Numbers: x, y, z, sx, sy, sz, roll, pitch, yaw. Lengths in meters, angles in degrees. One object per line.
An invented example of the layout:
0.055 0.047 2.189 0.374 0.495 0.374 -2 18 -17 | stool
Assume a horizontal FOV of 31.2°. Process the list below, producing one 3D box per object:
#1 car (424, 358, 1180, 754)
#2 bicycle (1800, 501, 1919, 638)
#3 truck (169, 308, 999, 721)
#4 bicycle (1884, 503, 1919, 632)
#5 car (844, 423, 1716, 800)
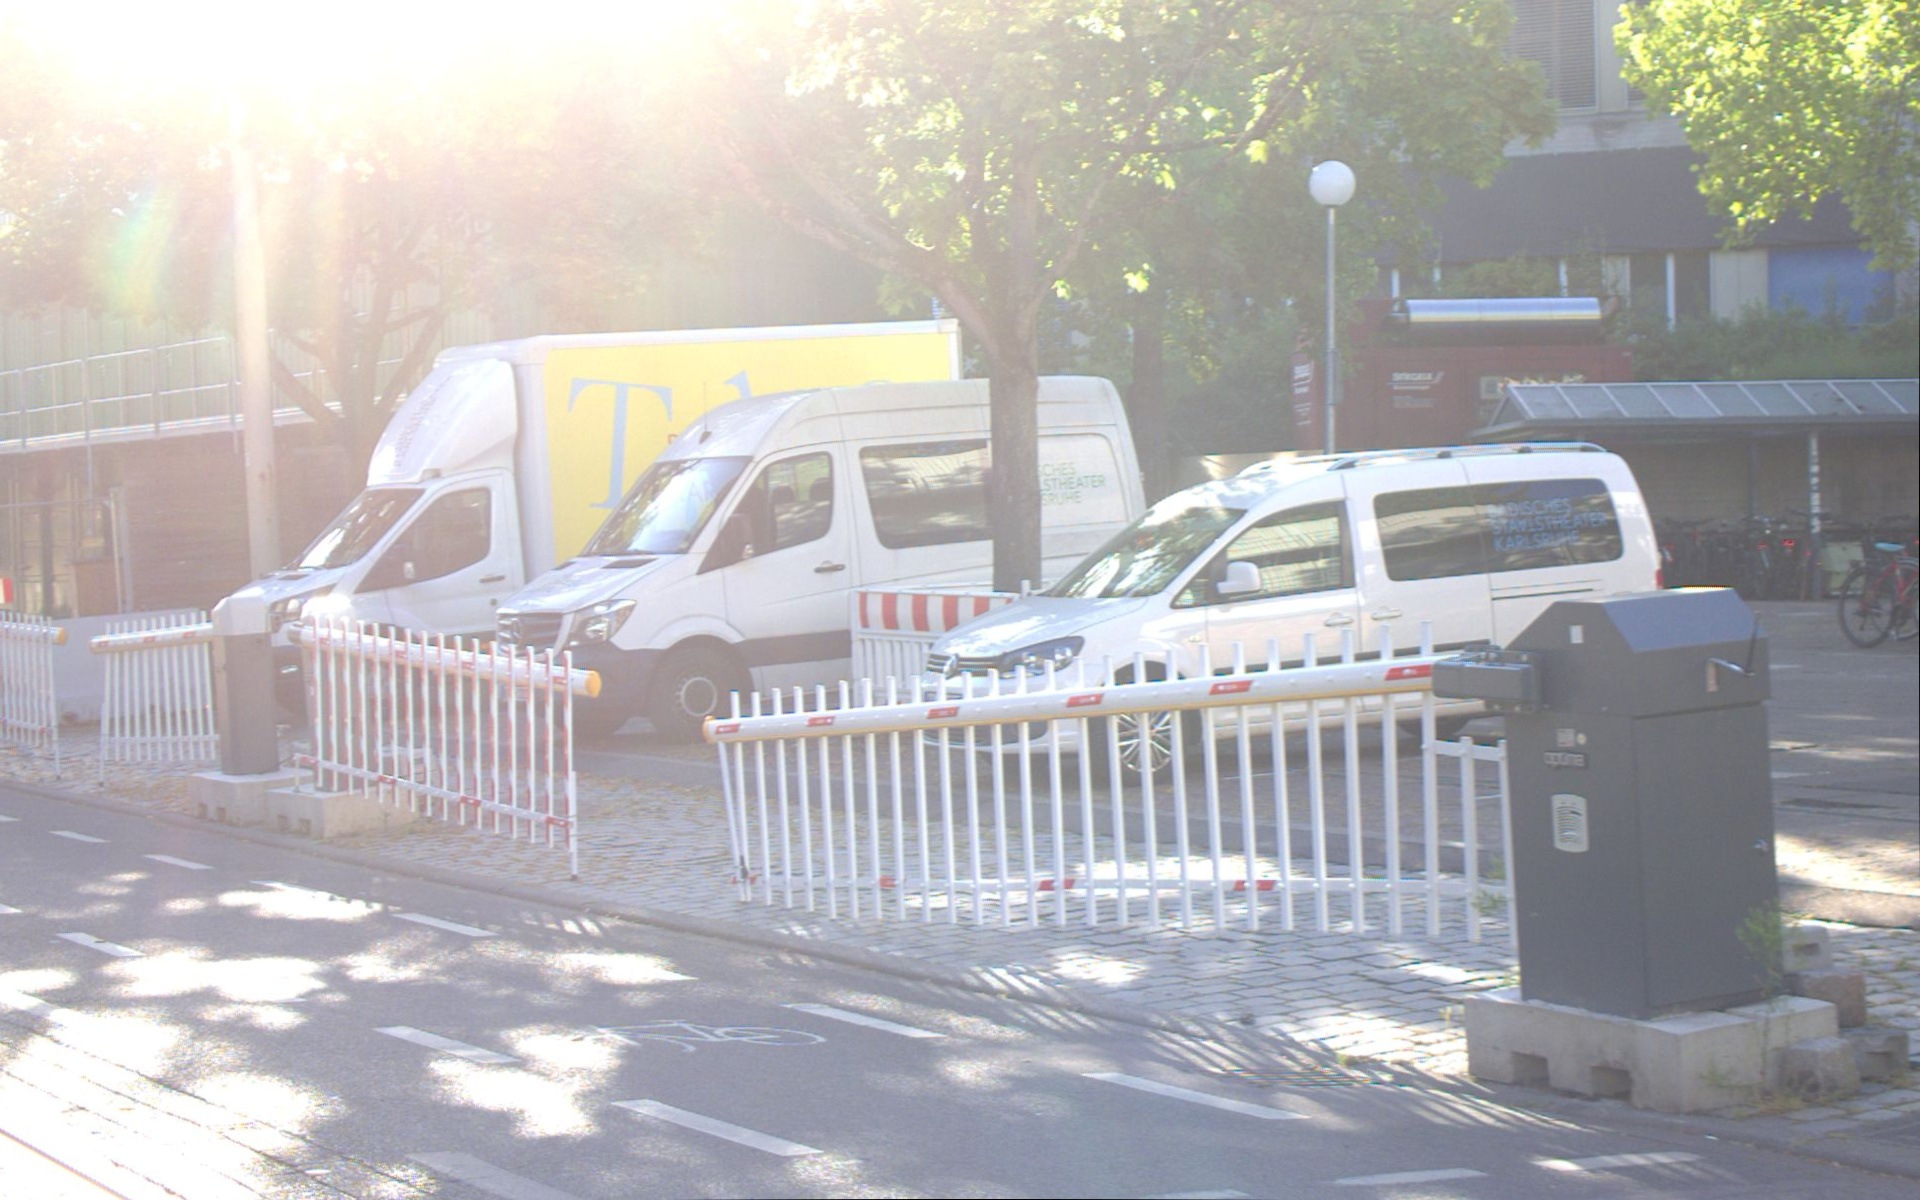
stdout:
-1.148 -0.412 26.509 5.364 2.522 2.000 -6 3 -32 | car
8.425 -0.271 29.344 0.819 1.143 3.090 -3 1 -20 | bicycle
-3.391 -0.873 31.809 7.097 3.336 2.390 -4 2 -29 | truck
9.303 -0.293 29.809 0.819 1.143 3.090 -3 1 -20 | bicycle
1.997 -0.001 21.266 4.930 1.886 2.011 -4 3 -24 | car
